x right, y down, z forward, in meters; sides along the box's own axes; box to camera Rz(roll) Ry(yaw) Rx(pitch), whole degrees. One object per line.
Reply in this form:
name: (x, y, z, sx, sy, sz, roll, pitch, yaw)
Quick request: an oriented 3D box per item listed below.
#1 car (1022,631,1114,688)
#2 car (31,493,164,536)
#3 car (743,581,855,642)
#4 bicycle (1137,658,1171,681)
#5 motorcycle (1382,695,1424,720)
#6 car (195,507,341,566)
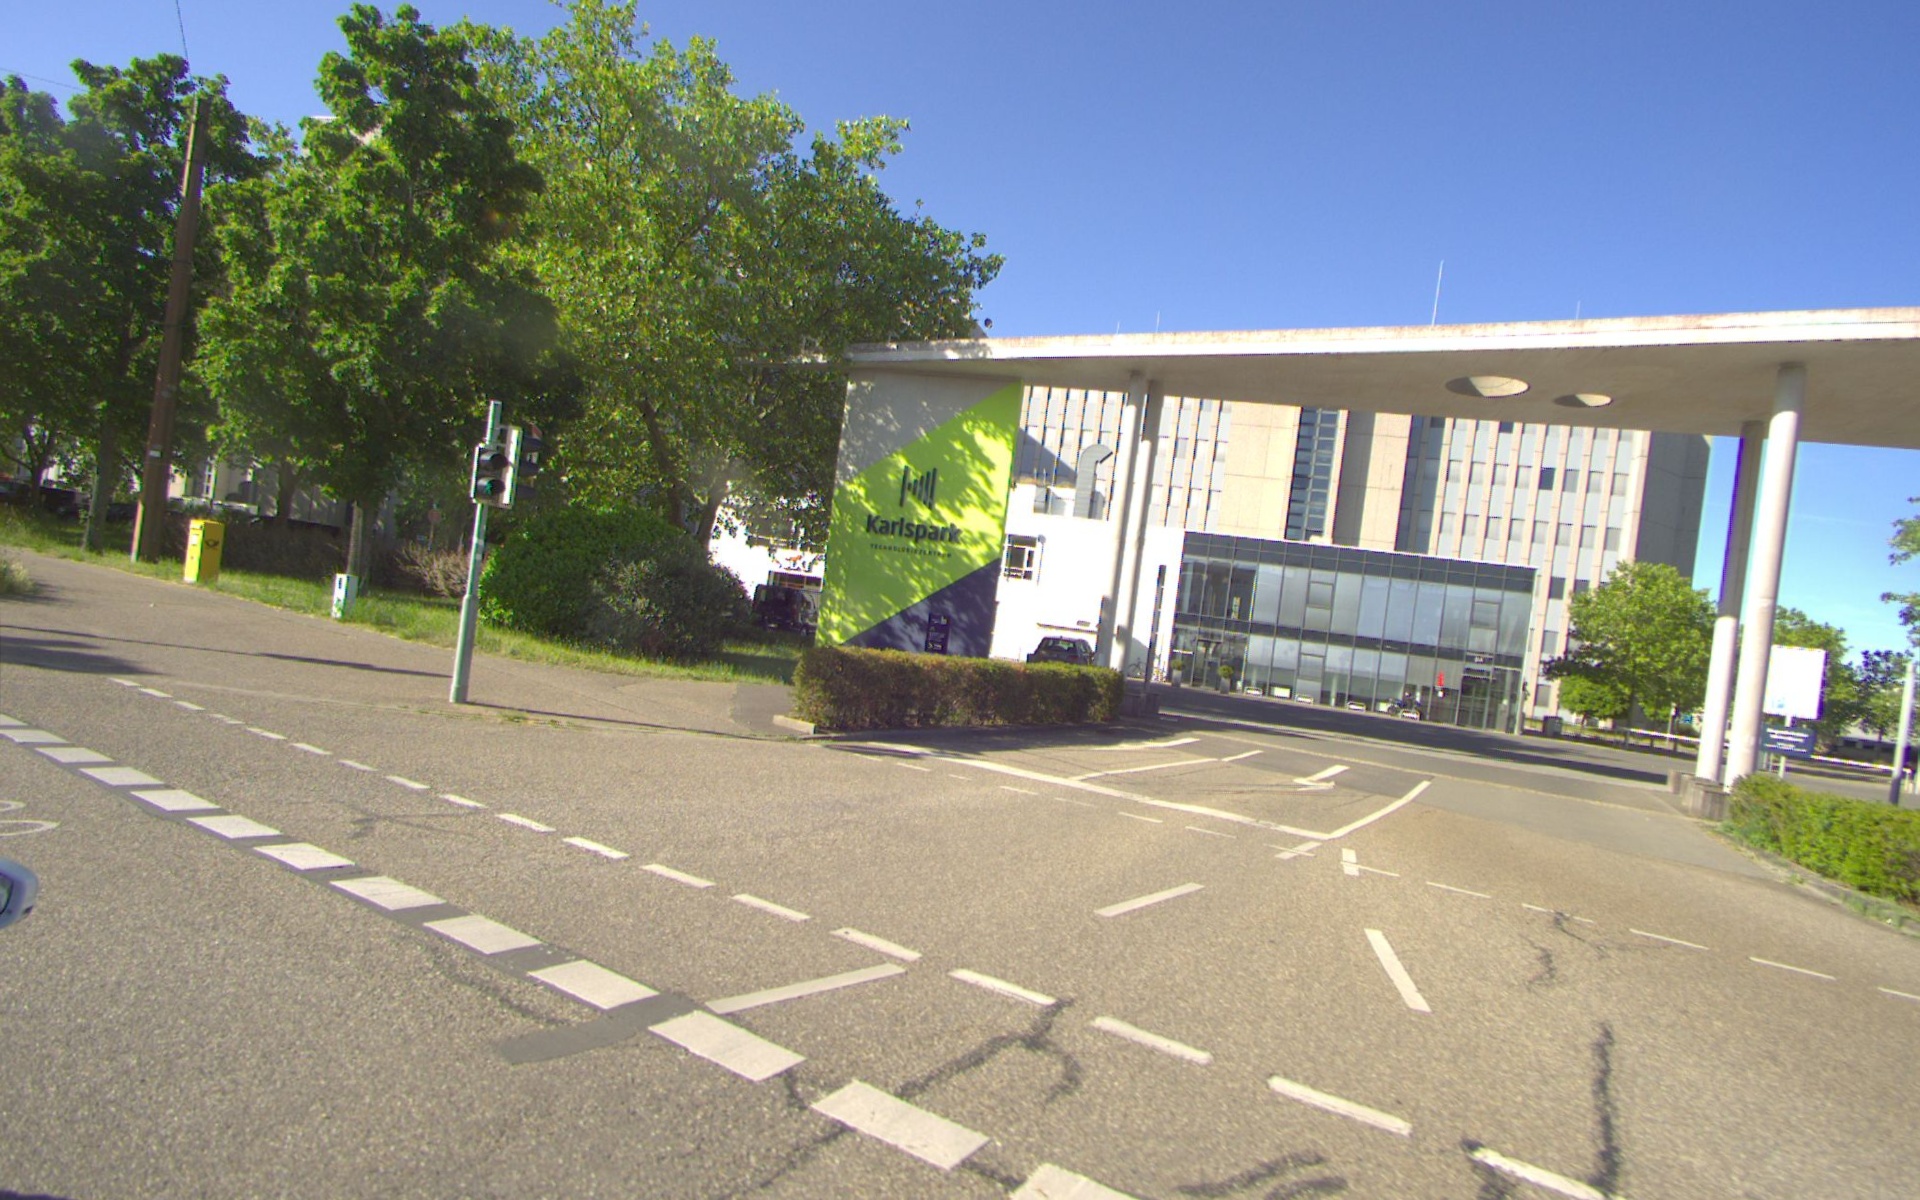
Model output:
car: (3.754, 2.078, 34.350, 1.918, 1.596, 4.001, 6, -2, 23)
car: (-43.760, -4.298, 51.185, 4.627, 1.343, 2.080, 8, -1, -24)
car: (-5.873, 0.502, 37.414, 2.052, 1.777, 4.902, 7, -2, 17)
bicycle: (10.151, 3.627, 52.565, 1.591, 1.016, 0.566, 7, -1, 17)
motorcycle: (21.463, 5.207, 48.748, 1.701, 0.959, 0.653, 7, -1, 17)
car: (-30.423, -2.752, 44.416, 4.870, 1.823, 1.811, 7, -1, -21)
